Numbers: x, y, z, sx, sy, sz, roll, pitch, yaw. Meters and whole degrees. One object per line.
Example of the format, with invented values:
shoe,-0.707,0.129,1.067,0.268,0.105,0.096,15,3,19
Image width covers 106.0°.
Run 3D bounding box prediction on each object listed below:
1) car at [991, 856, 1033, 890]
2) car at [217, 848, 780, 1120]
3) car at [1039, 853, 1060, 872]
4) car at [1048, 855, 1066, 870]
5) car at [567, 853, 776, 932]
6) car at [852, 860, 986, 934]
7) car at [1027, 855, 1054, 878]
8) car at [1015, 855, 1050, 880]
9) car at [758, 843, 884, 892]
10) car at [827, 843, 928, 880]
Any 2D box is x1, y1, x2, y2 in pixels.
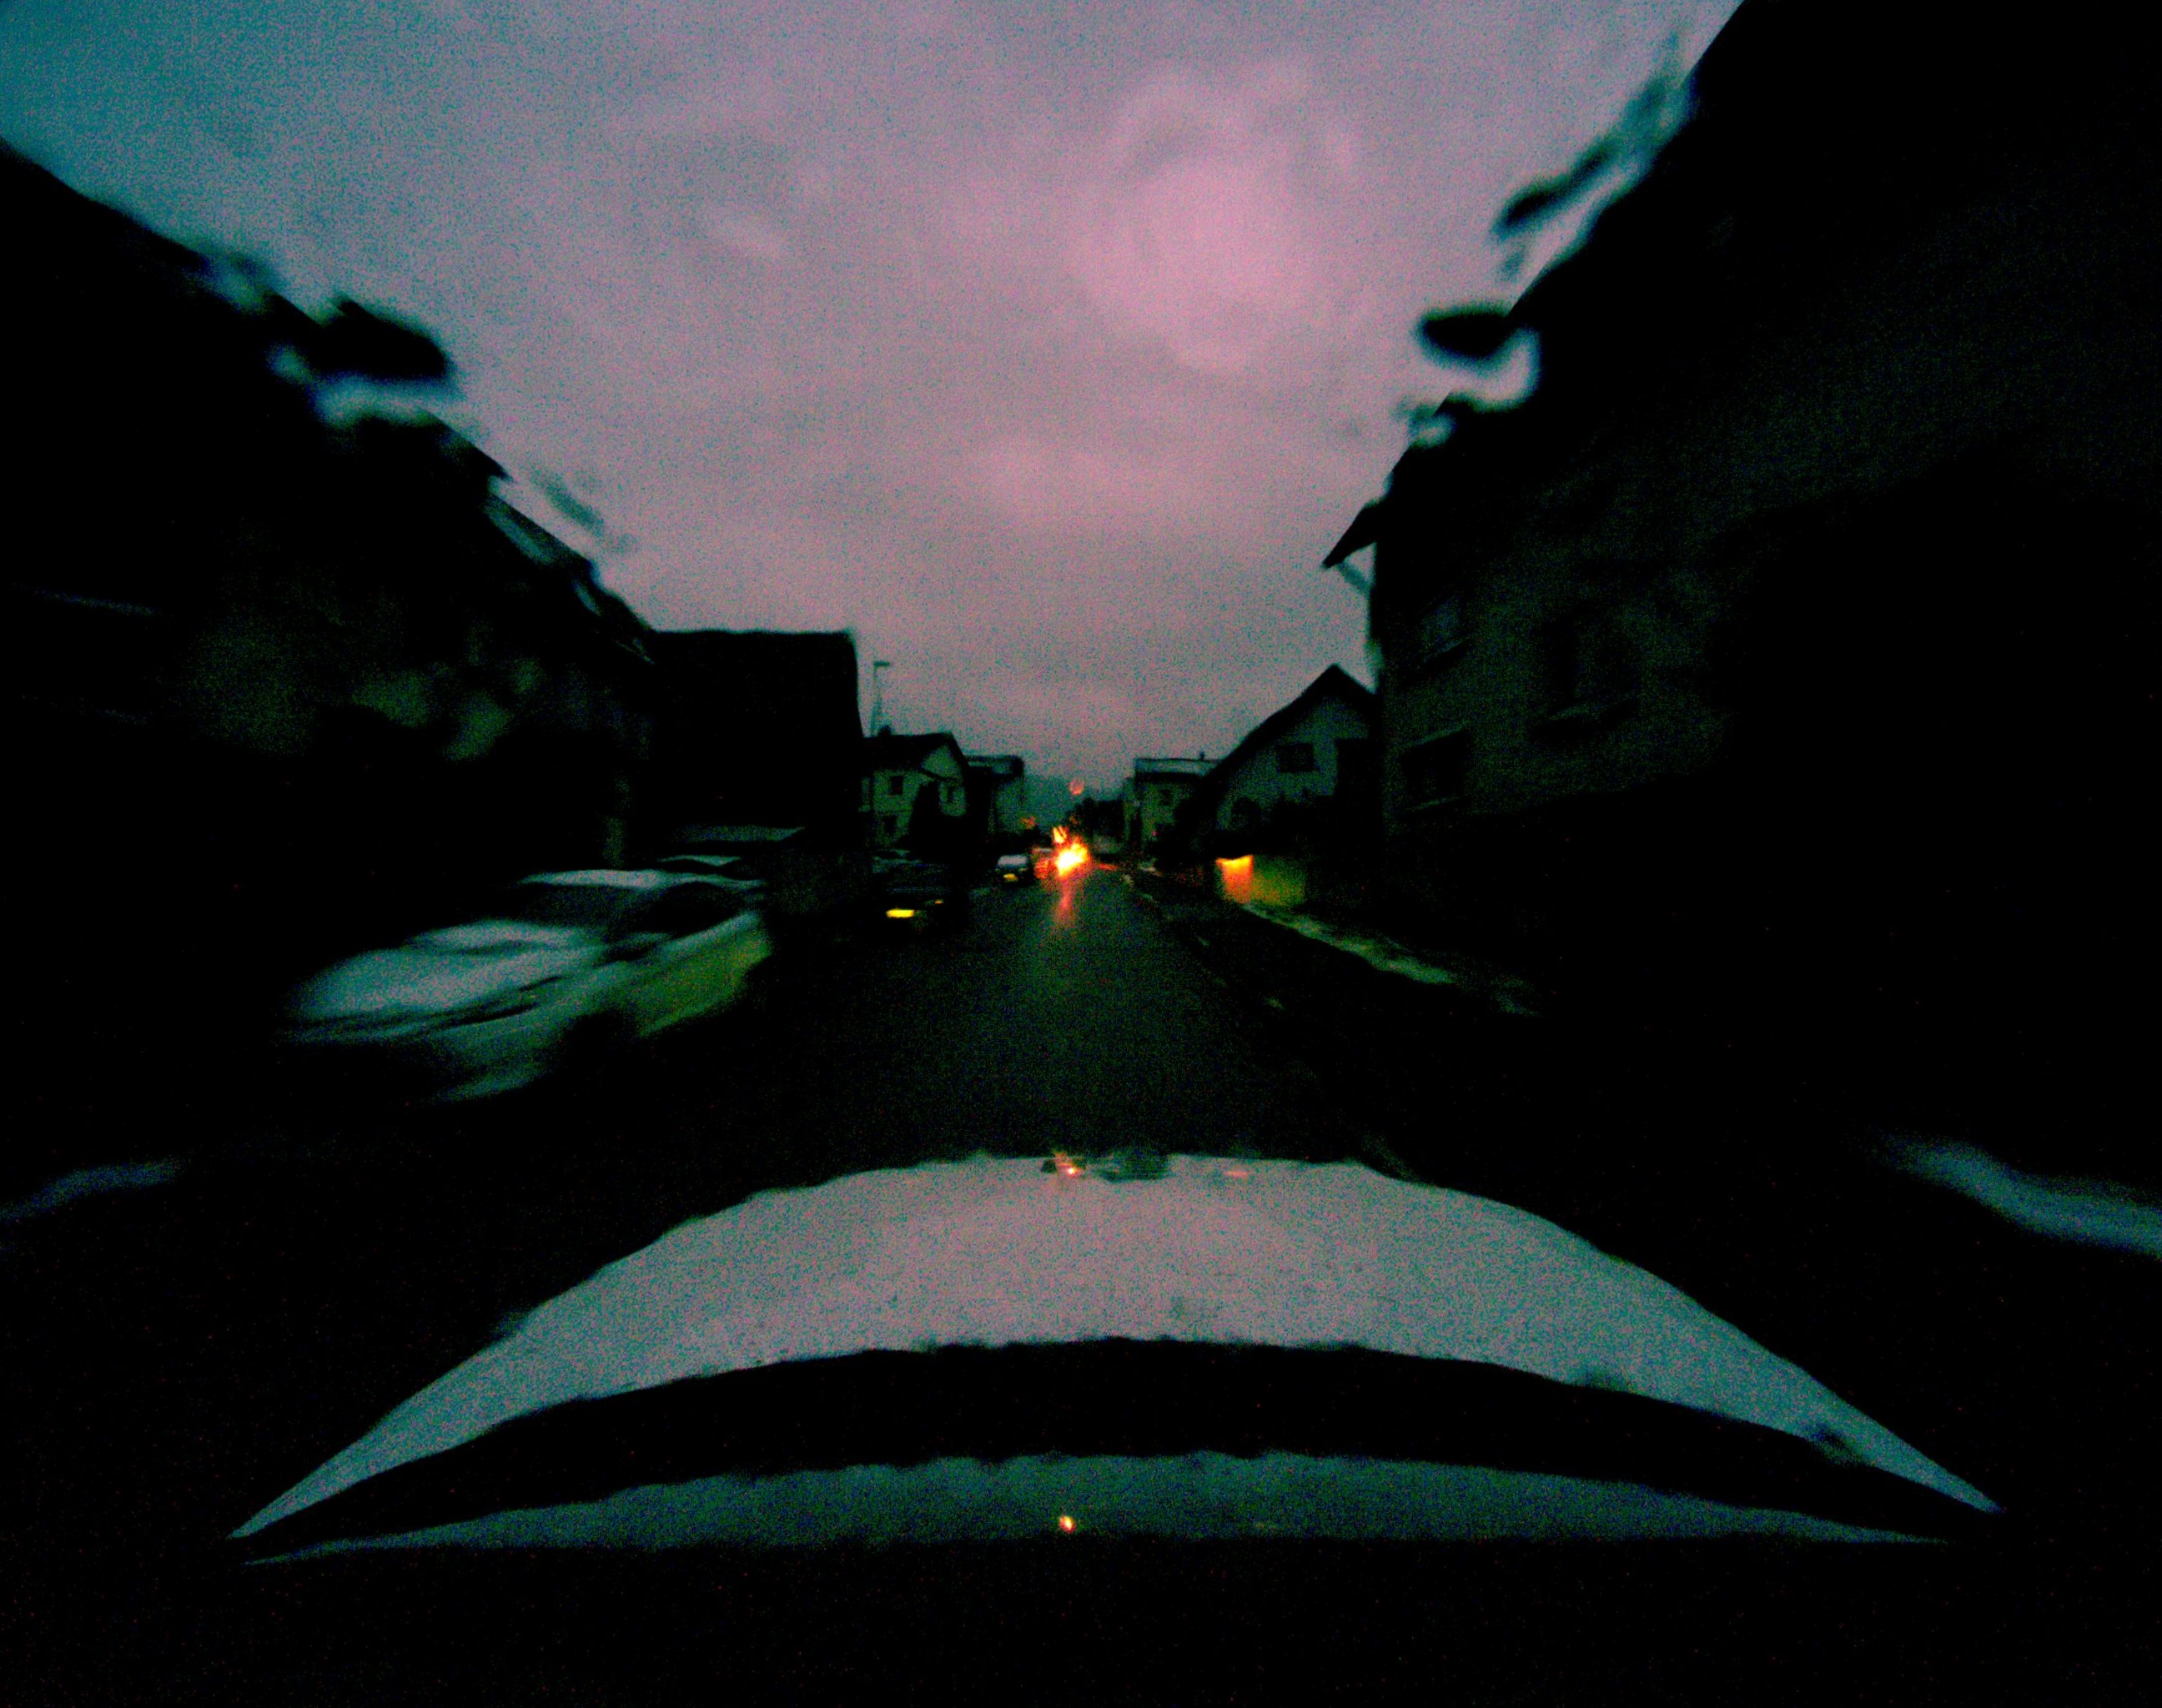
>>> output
car,-3.439,0.933,41.117,1.678,1.584,4.176,-1,-1,1
car,-3.831,0.733,6.236,1.613,1.438,3.657,-1,-1,1
car,-3.096,0.822,80.988,1.988,1.800,3.997,-2,0,-2
car,-2.873,1.064,99.047,1.987,1.650,4.000,-4,-2,1
car,-8.464,0.761,17.033,3.448,1.528,1.776,0,-1,4
car,-3.429,0.864,18.252,1.871,1.394,5.075,-1,-1,1
car,-3.278,0.992,66.547,1.819,1.835,4.345,-2,0,1
car,-3.134,0.849,53.168,1.787,1.503,4.312,-2,0,2
car,-9.644,0.506,30.415,3.968,1.746,2.002,0,-1,4
car,-9.141,0.324,36.802,3.968,1.618,1.891,0,-1,4
